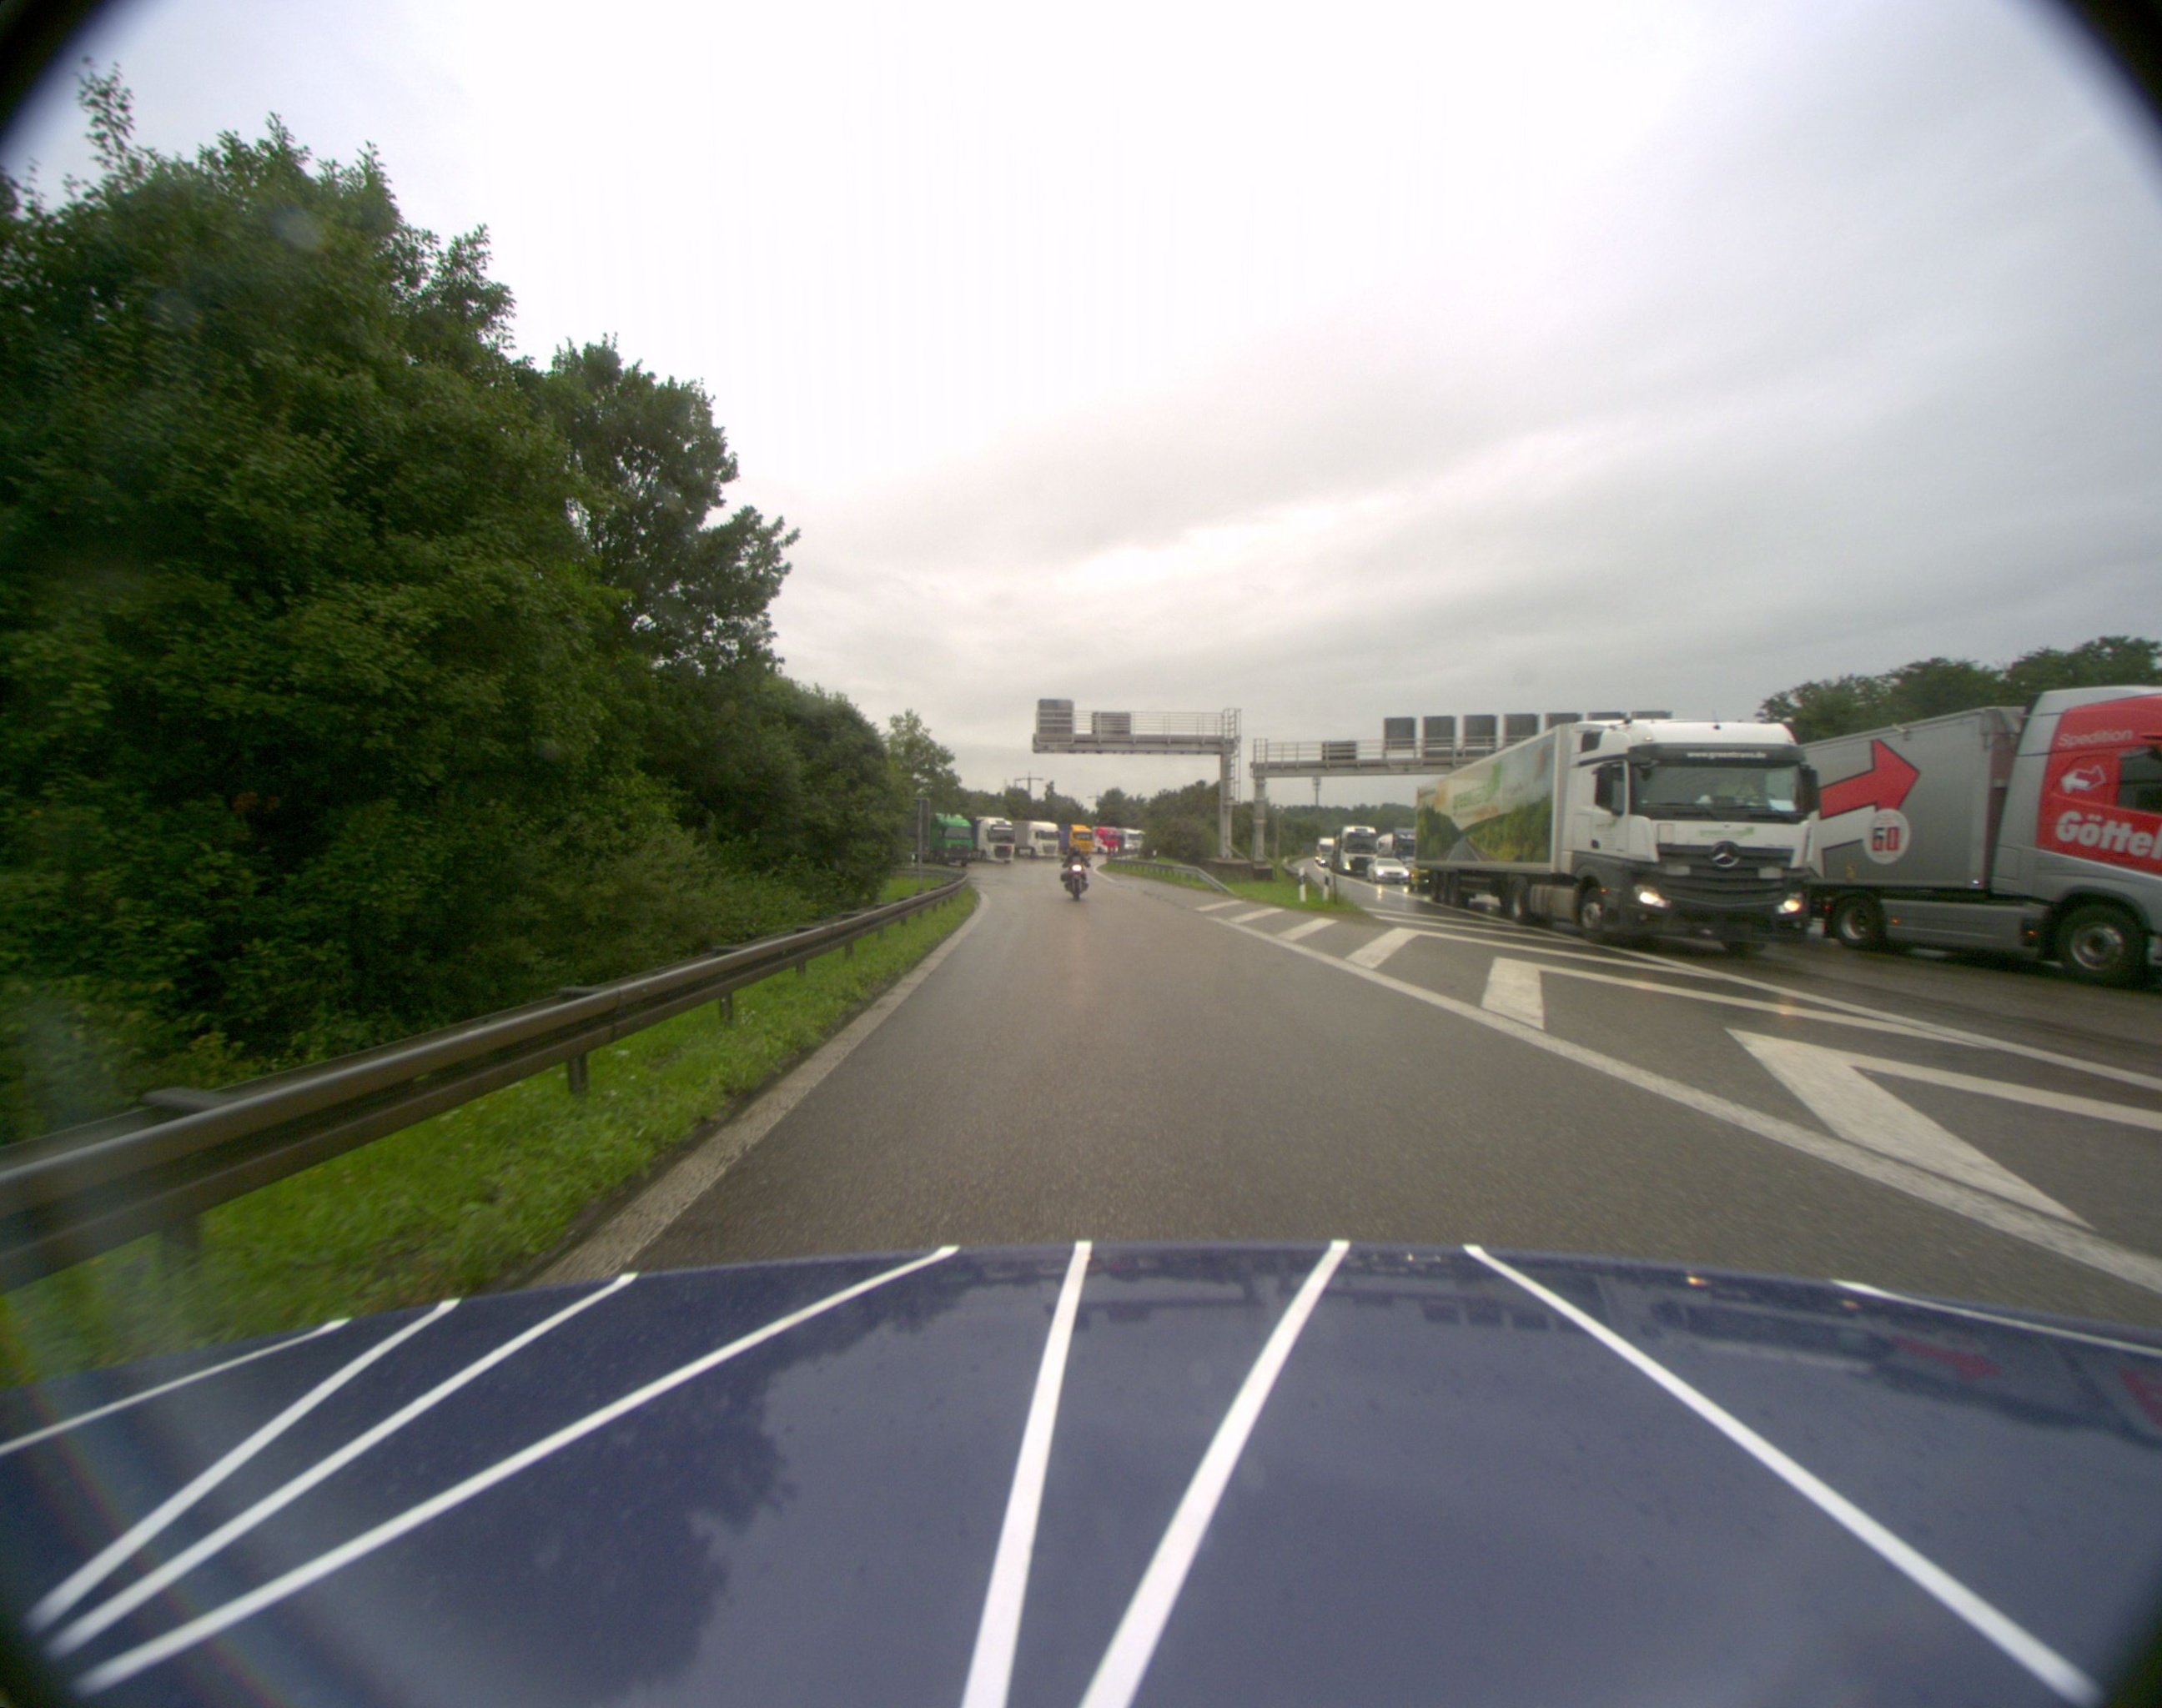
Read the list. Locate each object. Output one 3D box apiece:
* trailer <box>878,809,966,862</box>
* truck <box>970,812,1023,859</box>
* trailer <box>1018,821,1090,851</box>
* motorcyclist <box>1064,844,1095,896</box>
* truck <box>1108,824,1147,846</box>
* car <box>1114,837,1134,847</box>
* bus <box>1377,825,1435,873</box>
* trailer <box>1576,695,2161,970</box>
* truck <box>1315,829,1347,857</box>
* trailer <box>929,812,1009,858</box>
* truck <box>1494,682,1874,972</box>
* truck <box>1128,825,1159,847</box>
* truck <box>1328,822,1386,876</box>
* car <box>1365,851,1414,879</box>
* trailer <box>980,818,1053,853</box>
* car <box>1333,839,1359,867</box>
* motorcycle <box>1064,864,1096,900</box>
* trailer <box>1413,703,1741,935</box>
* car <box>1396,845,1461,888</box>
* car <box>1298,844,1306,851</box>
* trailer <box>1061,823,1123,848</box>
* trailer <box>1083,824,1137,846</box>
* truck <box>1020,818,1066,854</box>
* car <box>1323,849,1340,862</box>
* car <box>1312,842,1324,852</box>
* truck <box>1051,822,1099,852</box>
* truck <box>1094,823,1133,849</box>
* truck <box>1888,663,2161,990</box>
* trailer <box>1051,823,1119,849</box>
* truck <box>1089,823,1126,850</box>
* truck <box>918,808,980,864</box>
[{"bbox_3d":[-14.133,-1.728,66.064,2.831,4.127,13.928,0,2,-32],"label":"trailer"},{"bbox_3d":[-7.783,-1.694,69.367,2.831,4.123,5.288,0,2,-30],"label":"truck"},{"bbox_3d":[-4.226,-2.719,108.403,2.874,3.897,16.589,0,2,-30],"label":"trailer"},{"bbox_3d":[-0.049,0.484,24.086,0.878,1.559,1.372,1,1,-3],"label":"motorcyclist"},{"bbox_3d":[8.774,-3.694,144.385,3.252,4.068,7.916,0,2,-33],"label":"truck"},{"bbox_3d":[7.797,-2.233,138.077,1.851,1.848,3.989,-1,2,-31],"label":"car"},{"bbox_3d":[27.533,-0.542,64.855,2.899,3.747,10.438,-2,1,14],"label":"bus"},{"bbox_3d":[15.869,-0.354,17.470,2.631,3.842,13.688,2,1,12],"label":"trailer"},{"bbox_3d":[36.368,-1.711,110.727,3.533,3.826,9.443,-2,1,14],"label":"truck"},{"bbox_3d":[-11.412,-1.996,75.624,2.831,4.148,13.956,0,2,-30],"label":"trailer"},{"bbox_3d":[10.447,-0.451,14.316,2.922,4.076,6.725,1,1,13],"label":"truck"},{"bbox_3d":[12.541,-3.678,152.575,3.252,4.362,5.797,-1,2,-33],"label":"truck"},{"bbox_3d":[23.080,-0.545,64.149,3.351,4.047,12.583,-2,1,15],"label":"truck"},{"bbox_3d":[18.100,0.606,44.781,1.930,1.514,4.767,1,1,13],"label":"car"},{"bbox_3d":[-7.925,-2.300,90.552,2.849,3.897,13.917,0,2,-31],"label":"trailer"},{"bbox_3d":[27.552,-0.133,79.281,2.365,2.628,6.904,-2,1,18],"label":"car"},{"bbox_3d":[-0.058,0.862,24.182,0.878,1.016,2.351,1,1,-3],"label":"motorcycle"},{"bbox_3d":[11.991,-0.750,20.684,2.922,4.181,13.648,1,1,14],"label":"trailer"},{"bbox_3d":[15.843,0.516,34.866,1.796,1.783,4.243,1,1,12],"label":"car"},{"bbox_3d":[58.422,-1.765,200.758,1.816,1.747,4.691,1,1,15],"label":"car"},{"bbox_3d":[1.583,-3.144,125.856,2.881,3.897,13.896,0,2,-33],"label":"trailer"},{"bbox_3d":[5.500,-3.896,149.434,3.252,4.068,13.495,0,2,-33],"label":"trailer"},{"bbox_3d":[-4.323,-1.984,84.495,2.836,3.891,5.396,0,2,-31],"label":"truck"},{"bbox_3d":[32.500,0.215,98.702,1.816,1.674,4.004,0,1,14],"label":"car"},{"bbox_3d":[42.095,-1.331,134.977,1.816,1.747,4.691,0,1,16],"label":"car"},{"bbox_3d":[-0.956,-2.373,102.600,2.845,3.897,8.109,0,2,-29],"label":"truck"},{"bbox_3d":[5.074,-2.856,120.481,2.905,3.897,6.537,0,2,-33],"label":"truck"},{"bbox_3d":[14.292,-0.309,10.092,2.631,3.842,4.593,2,1,12],"label":"truck"},{"bbox_3d":[0.370,-2.963,121.283,3.252,3.897,14.789,0,2,-33],"label":"trailer"},{"bbox_3d":[4.037,-2.684,115.642,3.252,3.897,5.007,0,2,-33],"label":"truck"},{"bbox_3d":[-10.539,-1.458,60.157,2.831,4.127,5.981,0,2,-32],"label":"truck"}]
